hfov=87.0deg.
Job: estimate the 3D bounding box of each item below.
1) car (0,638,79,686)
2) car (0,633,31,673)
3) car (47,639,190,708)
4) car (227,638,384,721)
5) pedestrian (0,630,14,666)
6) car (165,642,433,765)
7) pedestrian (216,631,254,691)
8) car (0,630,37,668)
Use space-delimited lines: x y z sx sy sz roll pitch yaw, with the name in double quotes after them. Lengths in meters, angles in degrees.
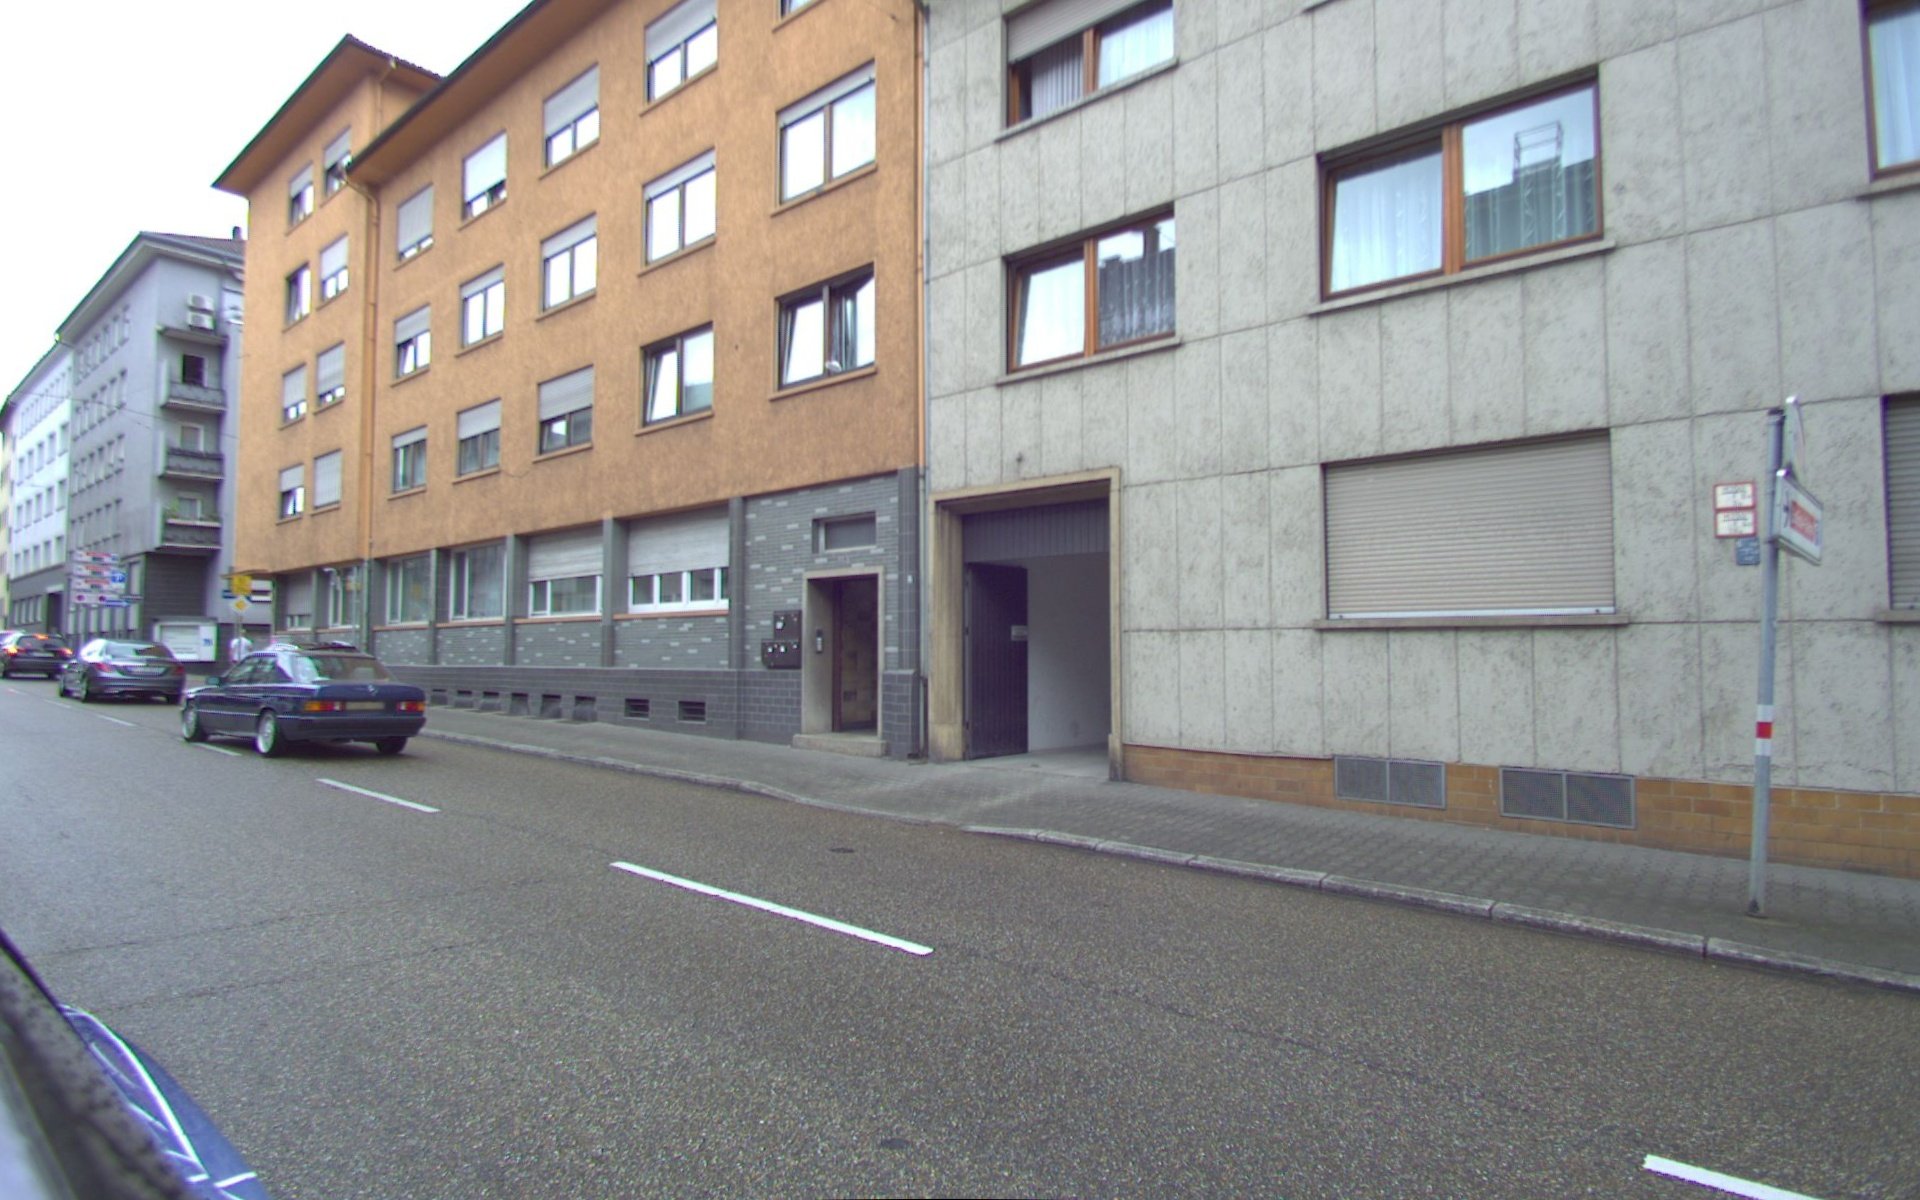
-30.987 2.040 33.709 4.370 1.484 1.705 -2 -5 40 "car"
-40.843 2.169 42.759 4.433 1.551 1.677 -1 -6 40 "car"
-19.588 1.683 23.491 4.362 1.381 1.678 -1 -5 40 "car"
-14.243 1.635 21.933 4.216 1.485 1.776 -1 0 41 "car"
-54.793 2.751 57.580 1.257 2.029 1.292 -1 0 41 "pedestrian"
-9.189 1.345 13.939 4.354 1.381 1.584 -1 -5 36 "car"
-20.997 1.751 29.301 0.757 1.652 1.024 -1 0 -44 "pedestrian"
-46.468 2.362 49.272 4.216 1.735 1.832 -1 0 41 "car"
